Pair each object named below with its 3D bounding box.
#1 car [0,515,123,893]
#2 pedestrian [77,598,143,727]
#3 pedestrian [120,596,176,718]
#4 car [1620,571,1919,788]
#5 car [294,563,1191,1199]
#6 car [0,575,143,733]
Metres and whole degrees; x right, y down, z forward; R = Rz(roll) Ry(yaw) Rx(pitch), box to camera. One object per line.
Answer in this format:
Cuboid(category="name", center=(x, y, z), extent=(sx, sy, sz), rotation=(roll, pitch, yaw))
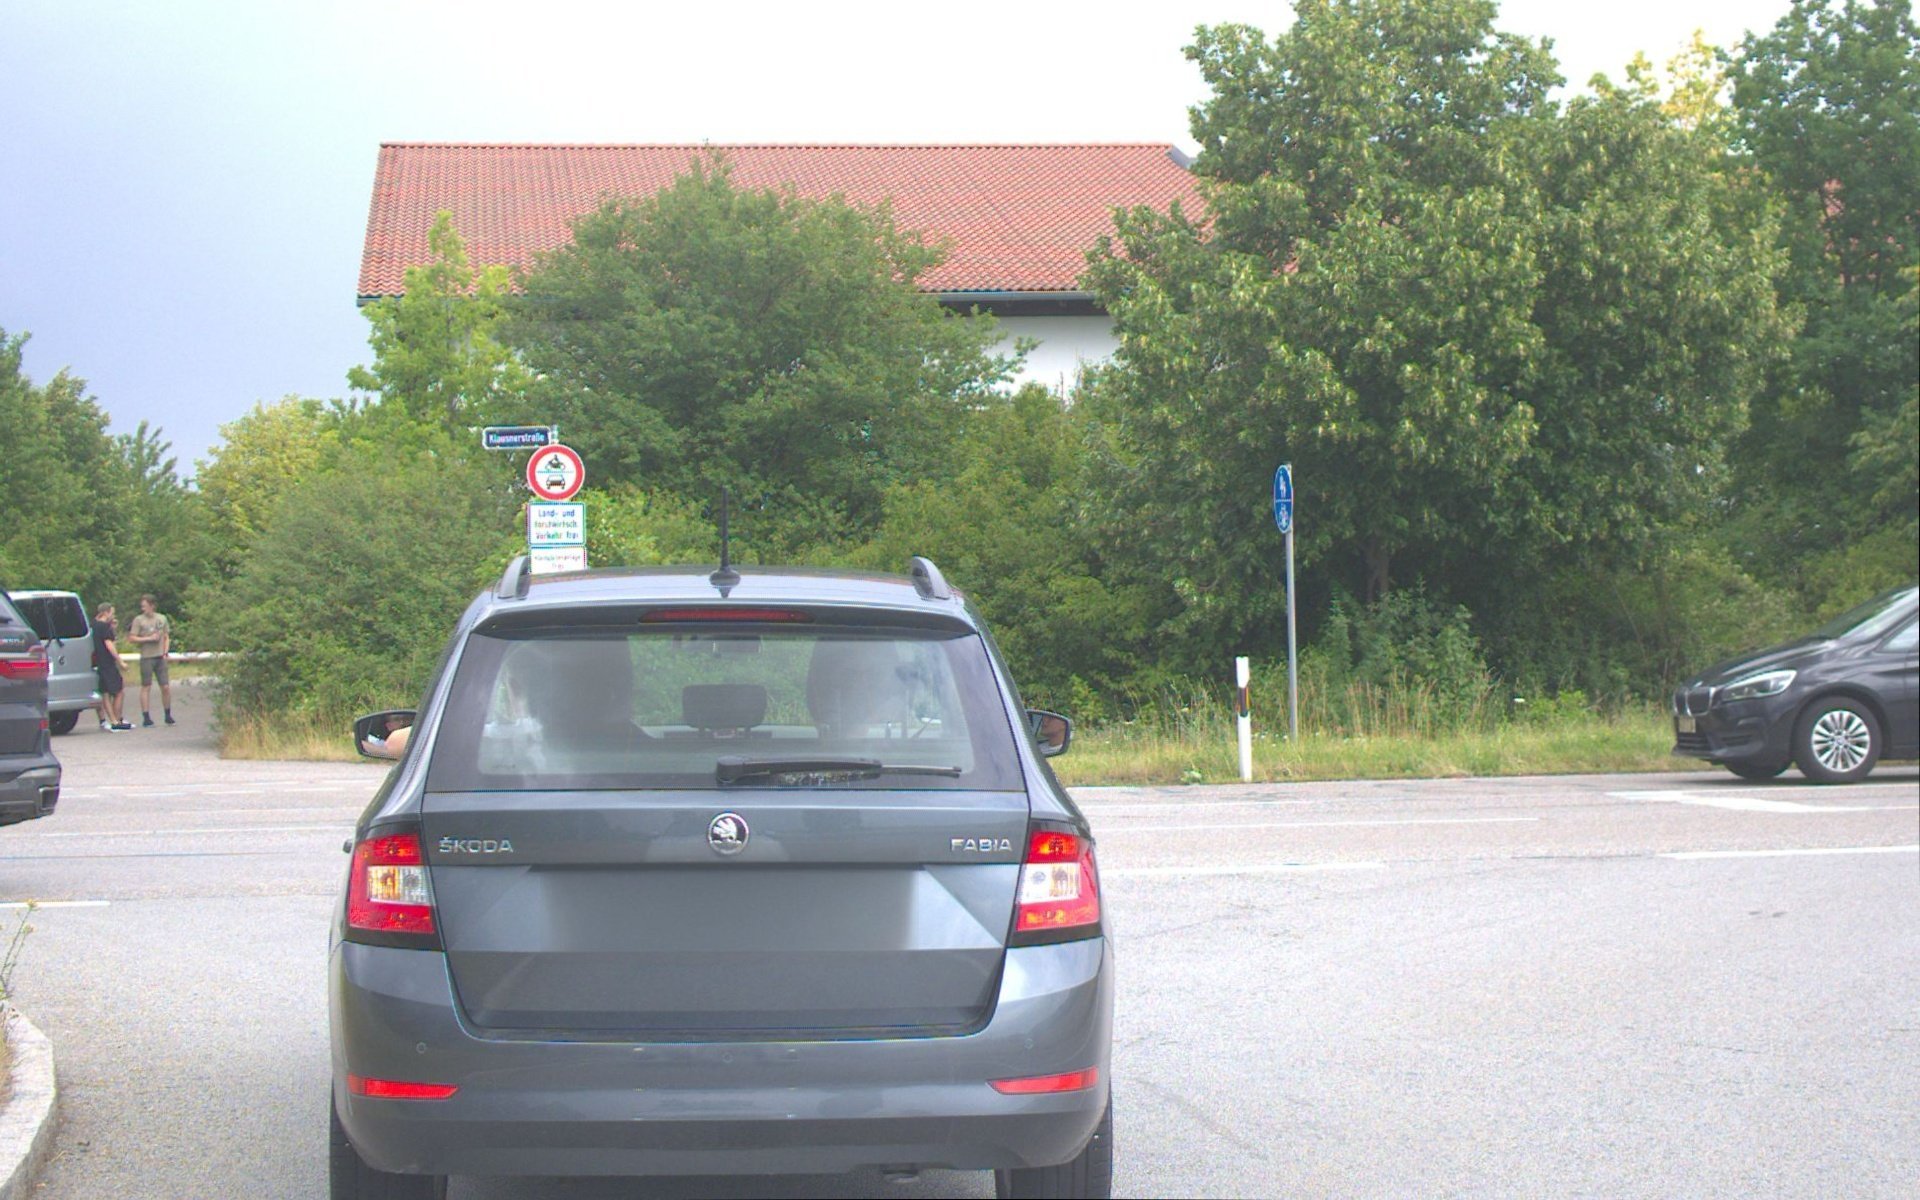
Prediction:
Cuboid(category="car", center=(-6.620, 0.517, 16.975), extent=(4.635, 1.768, 1.997), rotation=(-1, 0, 27))
Cuboid(category="pedestrian", center=(-11.611, 0.848, 46.971), extent=(0.529, 1.720, 0.640), rotation=(-1, 2, 31))
Cuboid(category="pedestrian", center=(-11.472, 0.797, 48.577), extent=(0.583, 1.677, 0.566), rotation=(-2, 2, -30))
Cuboid(category="car", center=(7.364, 0.527, 25.765), extent=(4.286, 1.482, 2.000), rotation=(-2, 0, -8))
Cuboid(category="car", center=(-0.621, 0.652, 8.277), extent=(1.676, 1.458, 3.708), rotation=(0, 0, -7))
Cuboid(category="car", center=(-13.949, 0.729, 47.484), extent=(4.907, 2.006, 2.338), rotation=(-1, 2, 32))
